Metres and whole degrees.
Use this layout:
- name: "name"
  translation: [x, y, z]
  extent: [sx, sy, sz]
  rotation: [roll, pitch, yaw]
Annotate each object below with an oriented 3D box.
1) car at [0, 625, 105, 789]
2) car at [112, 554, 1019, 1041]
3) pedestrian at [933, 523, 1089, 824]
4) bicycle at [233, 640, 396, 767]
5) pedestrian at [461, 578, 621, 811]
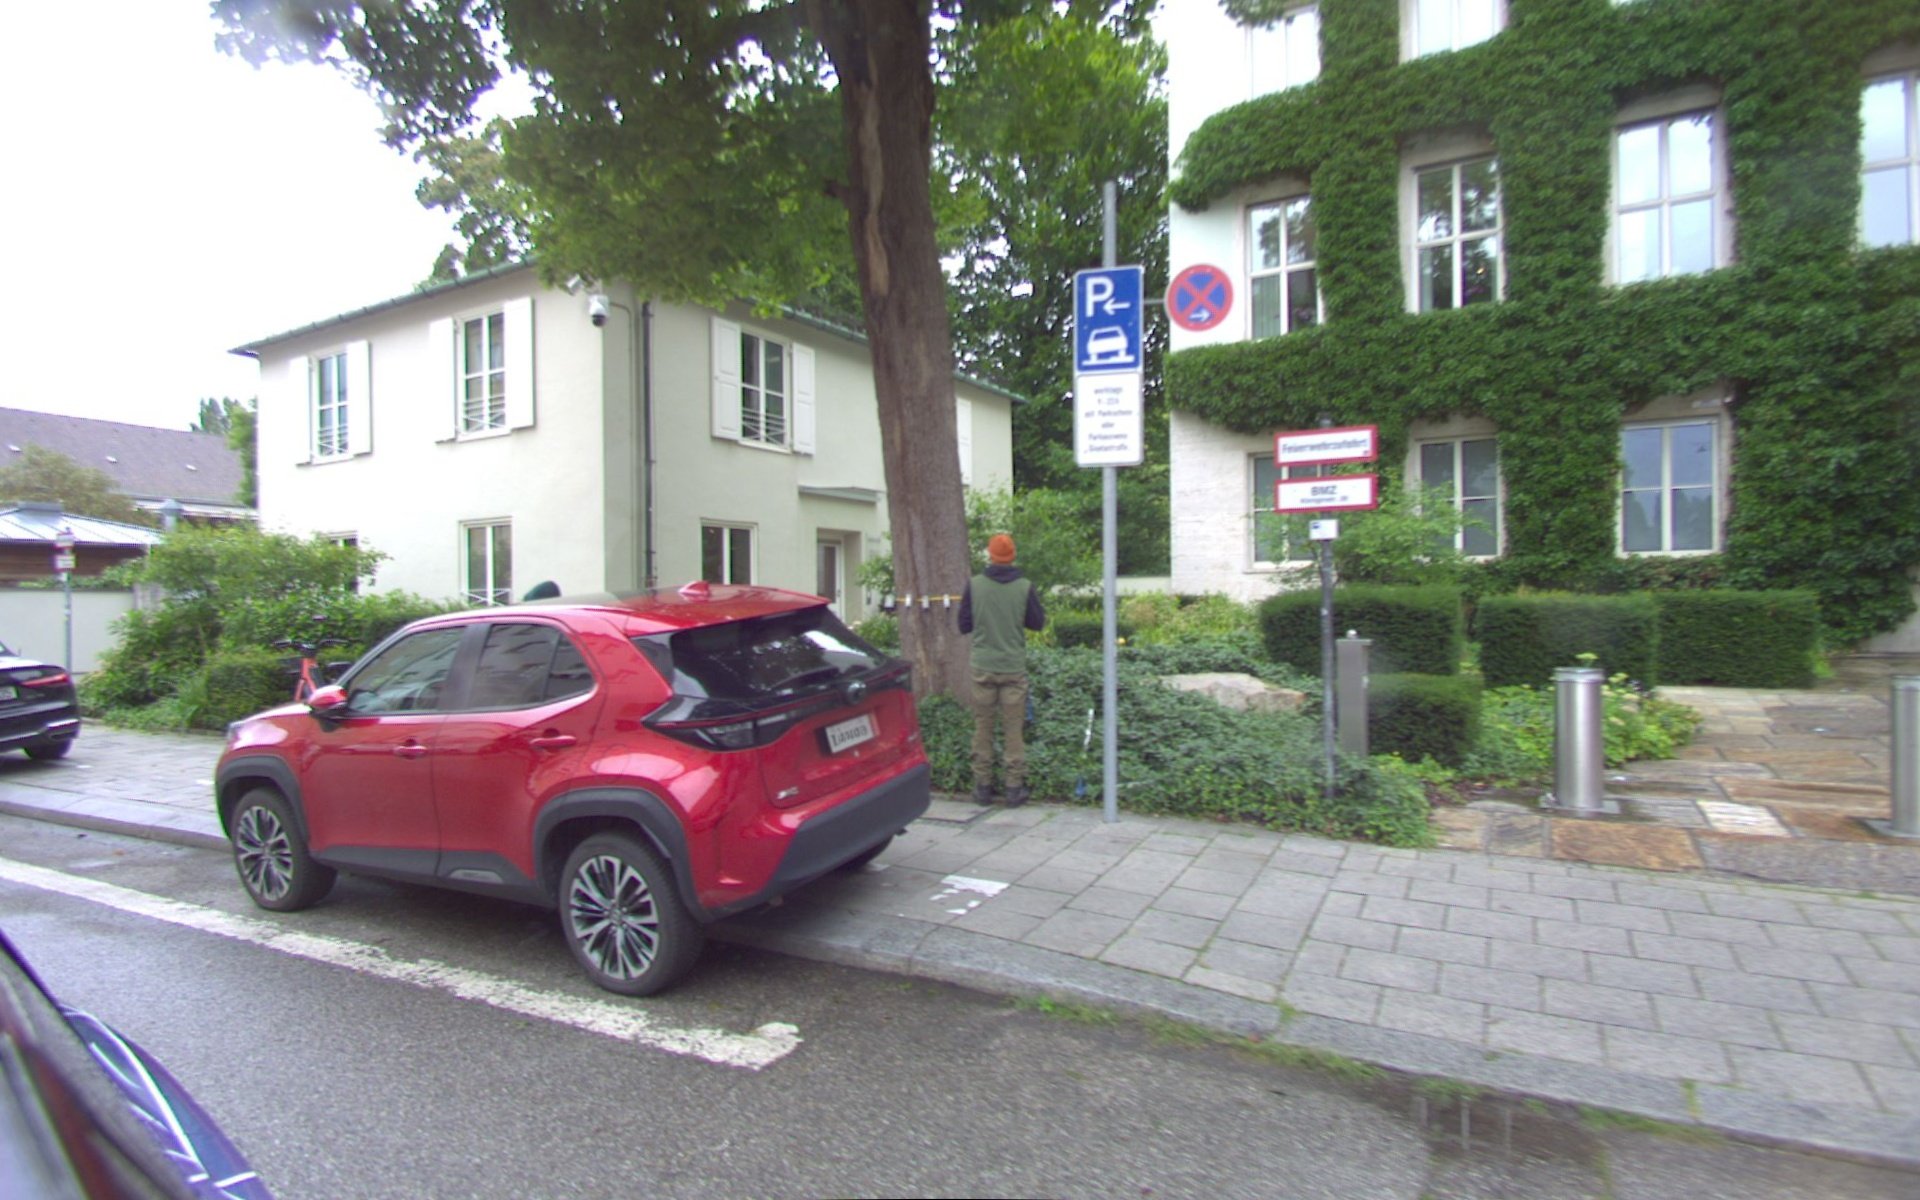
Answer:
- name: "car"
  translation: [-10.673, 0.999, 9.809]
  extent: [4.896, 1.412, 1.798]
  rotation: [-1, 0, 26]
- name: "car"
  translation: [-2.140, 0.674, 5.225]
  extent: [4.506, 1.602, 1.875]
  rotation: [-1, 0, 28]
- name: "pedestrian"
  translation: [0.350, 0.453, 6.771]
  extent: [0.793, 1.866, 0.708]
  rotation: [-1, 0, 29]
- name: "bicycle"
  translation: [-6.437, 0.977, 10.053]
  extent: [2.042, 1.139, 0.644]
  rotation: [-2, -2, 35]
- name: "pedestrian"
  translation: [-2.987, 0.631, 7.244]
  extent: [0.748, 1.560, 0.710]
  rotation: [-1, 1, 25]
